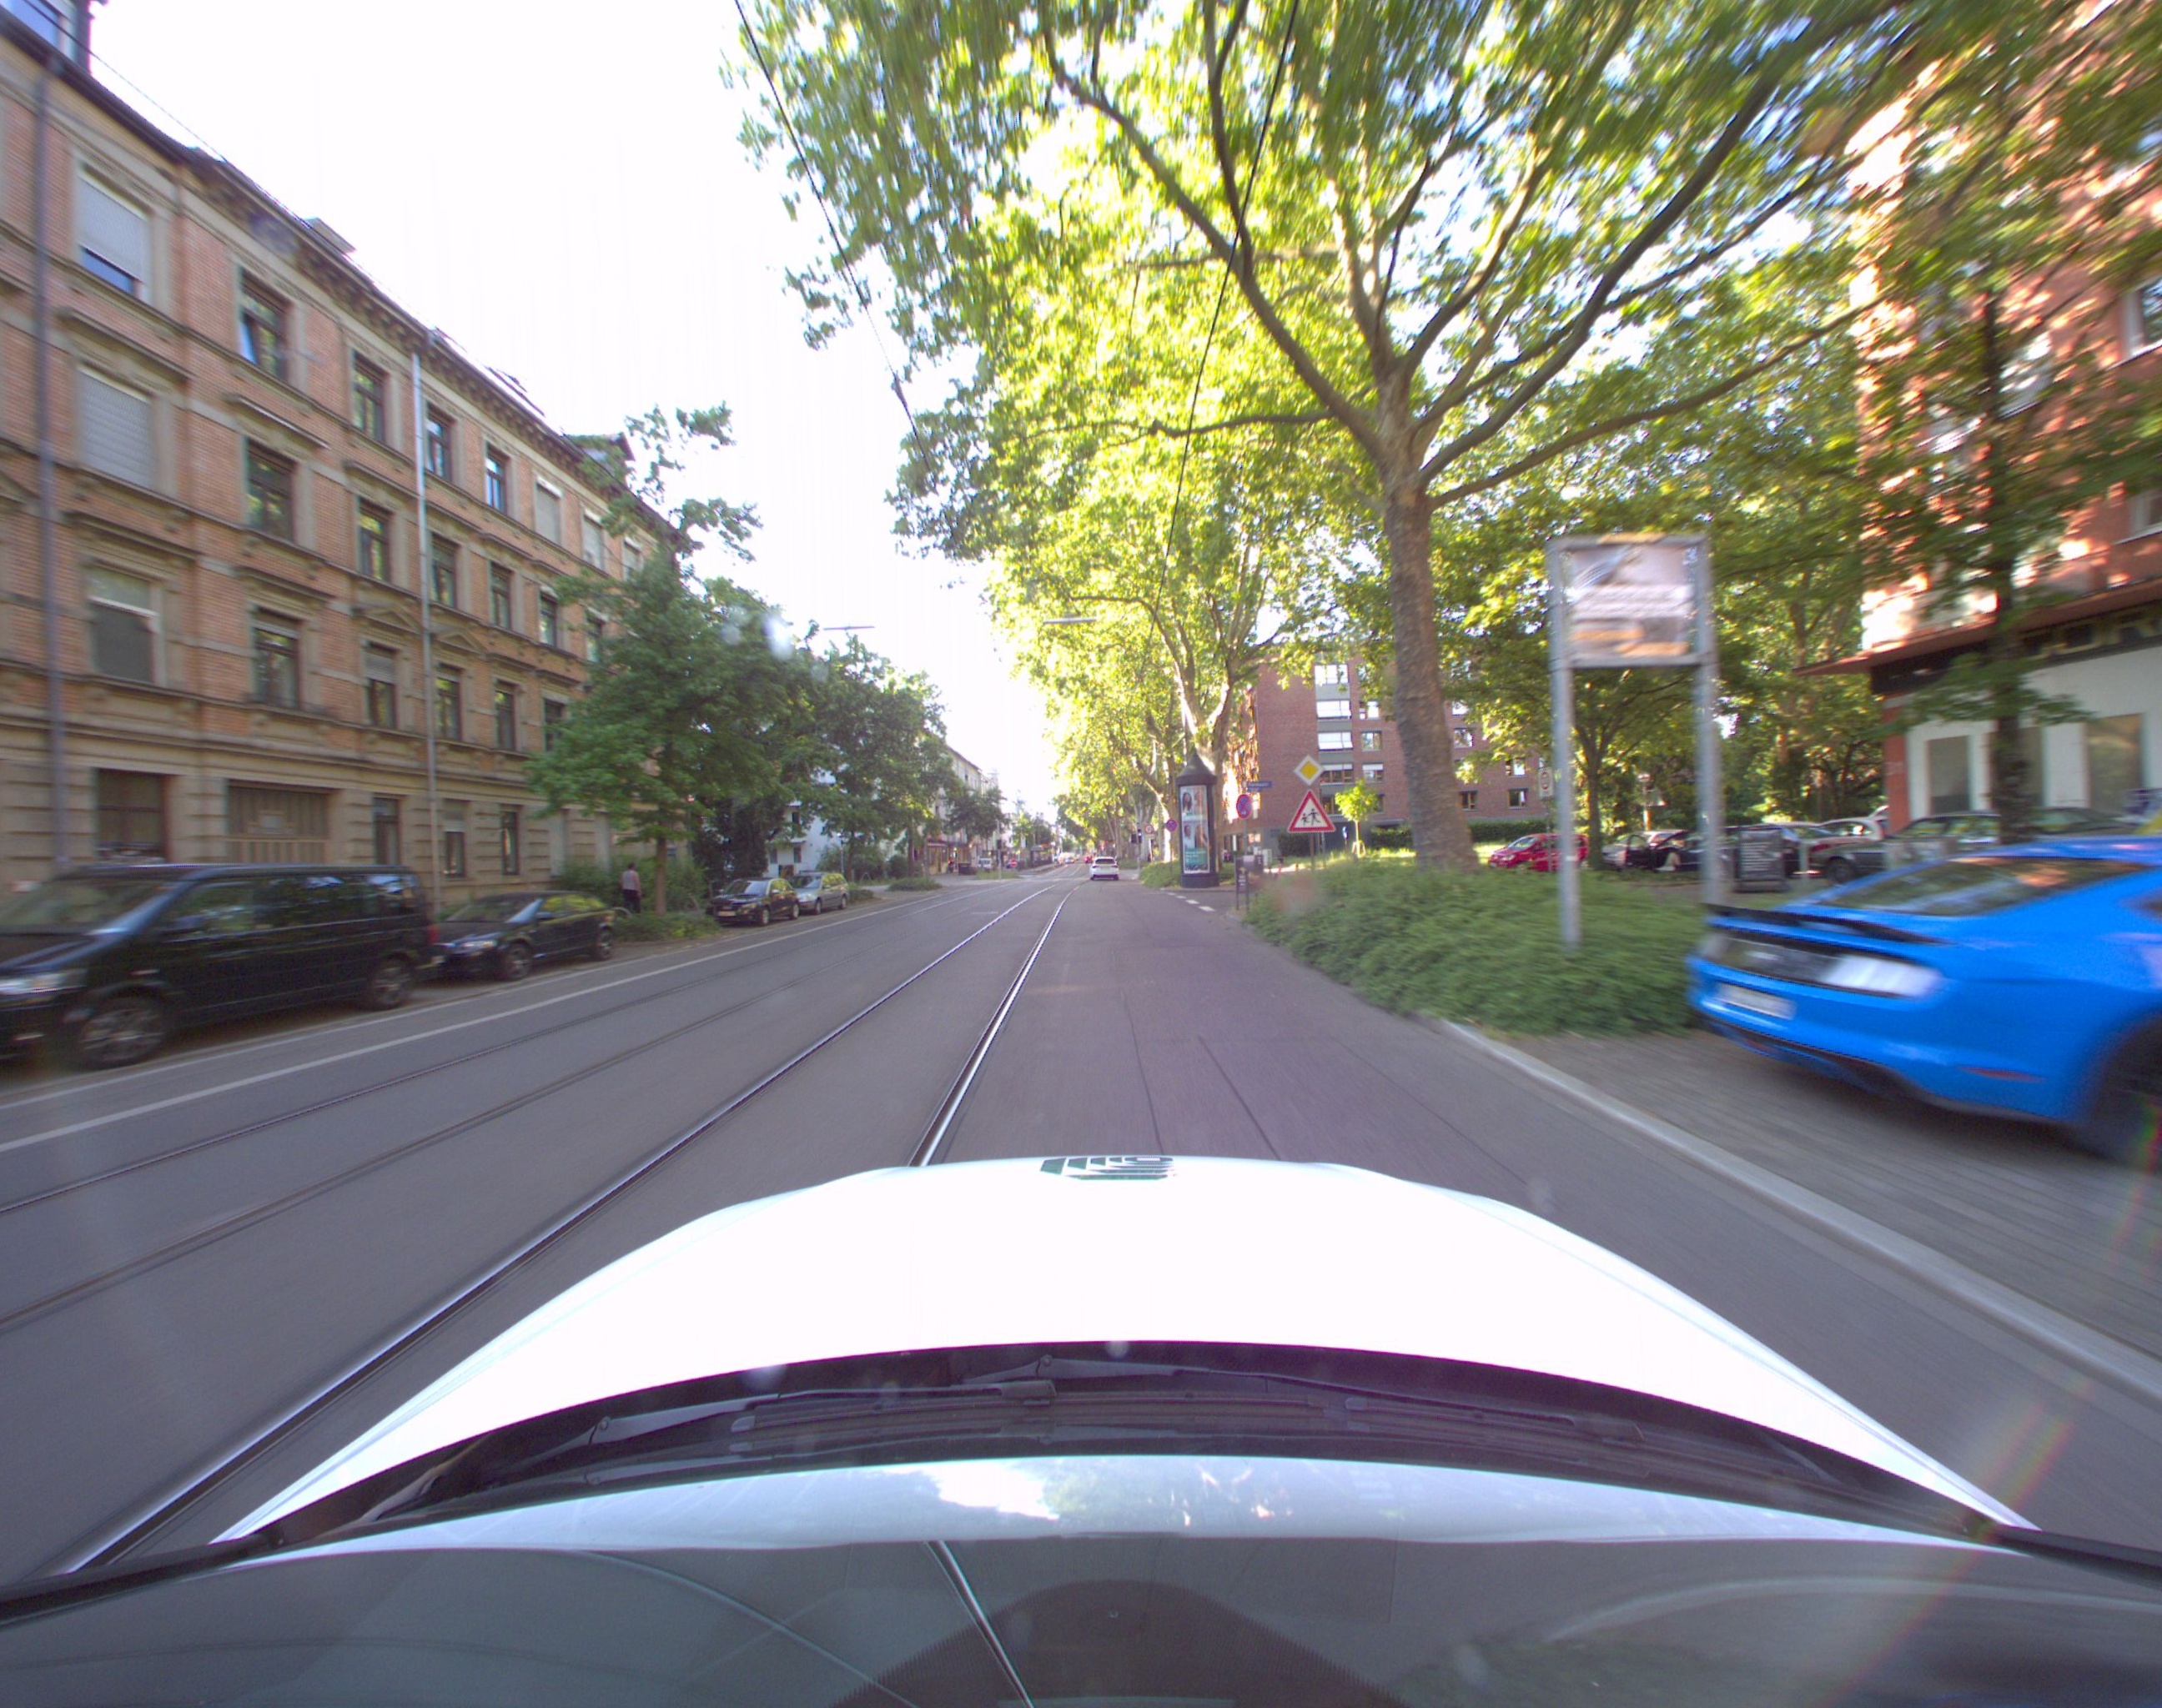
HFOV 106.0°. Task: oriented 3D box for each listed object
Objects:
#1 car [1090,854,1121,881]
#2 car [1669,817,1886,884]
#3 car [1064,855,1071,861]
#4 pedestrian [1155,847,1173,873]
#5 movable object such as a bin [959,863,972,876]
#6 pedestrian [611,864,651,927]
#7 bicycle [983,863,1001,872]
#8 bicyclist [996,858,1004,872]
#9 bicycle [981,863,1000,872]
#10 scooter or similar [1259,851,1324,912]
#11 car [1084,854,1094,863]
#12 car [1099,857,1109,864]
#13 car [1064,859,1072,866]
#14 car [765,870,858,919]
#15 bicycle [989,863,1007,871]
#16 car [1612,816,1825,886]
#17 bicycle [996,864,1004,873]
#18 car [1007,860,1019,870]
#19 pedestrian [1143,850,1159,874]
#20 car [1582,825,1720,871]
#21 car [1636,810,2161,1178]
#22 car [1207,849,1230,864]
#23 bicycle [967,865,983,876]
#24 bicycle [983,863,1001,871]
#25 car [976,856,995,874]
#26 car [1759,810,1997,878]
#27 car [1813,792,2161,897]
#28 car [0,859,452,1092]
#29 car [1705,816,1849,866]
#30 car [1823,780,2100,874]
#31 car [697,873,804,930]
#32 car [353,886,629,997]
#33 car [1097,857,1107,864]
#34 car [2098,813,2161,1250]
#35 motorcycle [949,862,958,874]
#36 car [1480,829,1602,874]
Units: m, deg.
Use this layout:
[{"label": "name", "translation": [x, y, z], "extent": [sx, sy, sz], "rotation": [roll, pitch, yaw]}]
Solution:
[{"label": "car", "translation": [1.499, 0.820, 51.058], "extent": [1.782, 1.513, 4.000], "rotation": [-3, 0, 0]}, {"label": "car", "translation": [18.927, -0.073, 22.470], "extent": [1.786, 1.574, 4.570], "rotation": [-3, 0, -5]}, {"label": "car", "translation": [-4.013, 1.164, 243.709], "extent": [1.860, 1.892, 4.000], "rotation": [-3, 0, 0]}, {"label": "pedestrian", "translation": [6.257, 0.440, 61.214], "extent": [0.981, 1.863, 1.014], "rotation": [-6, 0, -5]}, {"label": "movable object such as a bin", "translation": [-11.664, 1.566, 82.203], "extent": [1.167, 1.348, 0.782], "rotation": [1, -1, -4]}, {"label": "pedestrian", "translation": [-13.536, 1.225, 24.512], "extent": [0.739, 1.847, 0.728], "rotation": [-1, 0, -2]}, {"label": "bicycle", "translation": [-11.235, 1.710, 103.069], "extent": [2.245, 1.074, 0.636], "rotation": [1, 0, 1]}, {"label": "bicyclist", "translation": [-8.911, 1.172, 89.426], "extent": [0.639, 1.455, 0.837], "rotation": [-4, 0, -1]}, {"label": "bicycle", "translation": [-11.293, 1.690, 101.421], "extent": [2.245, 1.074, 0.636], "rotation": [1, 0, 1]}, {"label": "scooter or similar", "translation": [4.607, 0.598, 17.877], "extent": [1.205, 1.240, 0.569], "rotation": [-3, -1, -2]}, {"label": "car", "translation": [1.563, 0.844, 153.809], "extent": [1.782, 1.513, 4.000], "rotation": [-3, 0, 0]}, {"label": "car", "translation": [4.975, 1.375, 176.683], "extent": [1.987, 1.453, 4.000], "rotation": [-3, 0, 0]}, {"label": "car", "translation": [-2.796, 1.915, 179.627], "extent": [1.688, 1.419, 4.000], "rotation": [-3, 0, 0]}, {"label": "car", "translation": [-9.987, 1.438, 30.546], "extent": [1.692, 1.550, 4.540], "rotation": [-2, 0, 3]}, {"label": "bicycle", "translation": [-11.251, 1.751, 110.342], "extent": [2.245, 1.074, 0.636], "rotation": [1, 0, 1]}, {"label": "car", "translation": [16.706, -0.058, 21.714], "extent": [1.786, 1.574, 4.570], "rotation": [-3, 0, -5]}, {"label": "bicycle", "translation": [-8.875, 1.600, 89.414], "extent": [0.639, 0.987, 2.100], "rotation": [-4, 0, 0]}, {"label": "car", "translation": [-10.665, 1.740, 127.506], "extent": [1.588, 1.548, 4.000], "rotation": [0, 0, 0]}, {"label": "pedestrian", "translation": [5.434, 0.645, 63.396], "extent": [0.993, 1.811, 0.863], "rotation": [-3, 0, -5]}, {"label": "car", "translation": [20.861, -0.210, 29.894], "extent": [3.907, 1.452, 1.682], "rotation": [-3, 0, -2]}, {"label": "car", "translation": [5.765, 0.544, 4.235], "extent": [4.379, 1.543, 1.821], "rotation": [-3, 0, 7]}, {"label": "car", "translation": [14.090, 0.246, 83.491], "extent": [1.596, 1.495, 3.415], "rotation": [-3, 0, -1]}, {"label": "bicycle", "translation": [-10.994, 1.720, 84.276], "extent": [1.529, 1.075, 0.885], "rotation": [0, 0, -1]}, {"label": "bicycle", "translation": [-11.510, 1.695, 104.922], "extent": [2.245, 1.074, 0.636], "rotation": [1, 0, 1]}, {"label": "car", "translation": [-11.179, 1.297, 95.604], "extent": [1.682, 1.940, 4.000], "rotation": [-3, 0, 0]}, {"label": "car", "translation": [21.371, -0.243, 22.168], "extent": [1.785, 1.574, 4.572], "rotation": [-3, 0, -3]}, {"label": "car", "translation": [15.282, -0.154, 13.782], "extent": [1.743, 1.434, 4.468], "rotation": [-3, 0, 1]}, {"label": "car", "translation": [-10.252, 1.122, 9.514], "extent": [1.988, 2.013, 4.832], "rotation": [-3, 0, -1]}, {"label": "car", "translation": [25.639, -0.475, 30.088], "extent": [3.907, 1.581, 1.682], "rotation": [-3, 0, -2]}, {"label": "car", "translation": [23.686, -0.652, 22.299], "extent": [1.907, 2.184, 5.080], "rotation": [-3, 0, -3]}, {"label": "car", "translation": [-10.037, 1.396, 25.046], "extent": [1.653, 1.445, 3.948], "rotation": [-2, 0, 0]}, {"label": "car", "translation": [-10.336, 1.437, 14.771], "extent": [1.847, 1.458, 4.268], "rotation": [-3, 0, -1]}, {"label": "car", "translation": [4.699, 1.420, 181.767], "extent": [1.987, 1.453, 4.000], "rotation": [-3, 0, 0]}, {"label": "car", "translation": [5.929, 0.522, 1.951], "extent": [4.386, 1.543, 1.953], "rotation": [-3, 0, 2]}, {"label": "motorcycle", "translation": [-14.806, 1.605, 94.358], "extent": [0.597, 1.311, 2.222], "rotation": [-3, 0, 0]}, {"label": "car", "translation": [16.968, -0.095, 30.158], "extent": [3.528, 1.452, 1.682], "rotation": [-3, 0, -2]}]
